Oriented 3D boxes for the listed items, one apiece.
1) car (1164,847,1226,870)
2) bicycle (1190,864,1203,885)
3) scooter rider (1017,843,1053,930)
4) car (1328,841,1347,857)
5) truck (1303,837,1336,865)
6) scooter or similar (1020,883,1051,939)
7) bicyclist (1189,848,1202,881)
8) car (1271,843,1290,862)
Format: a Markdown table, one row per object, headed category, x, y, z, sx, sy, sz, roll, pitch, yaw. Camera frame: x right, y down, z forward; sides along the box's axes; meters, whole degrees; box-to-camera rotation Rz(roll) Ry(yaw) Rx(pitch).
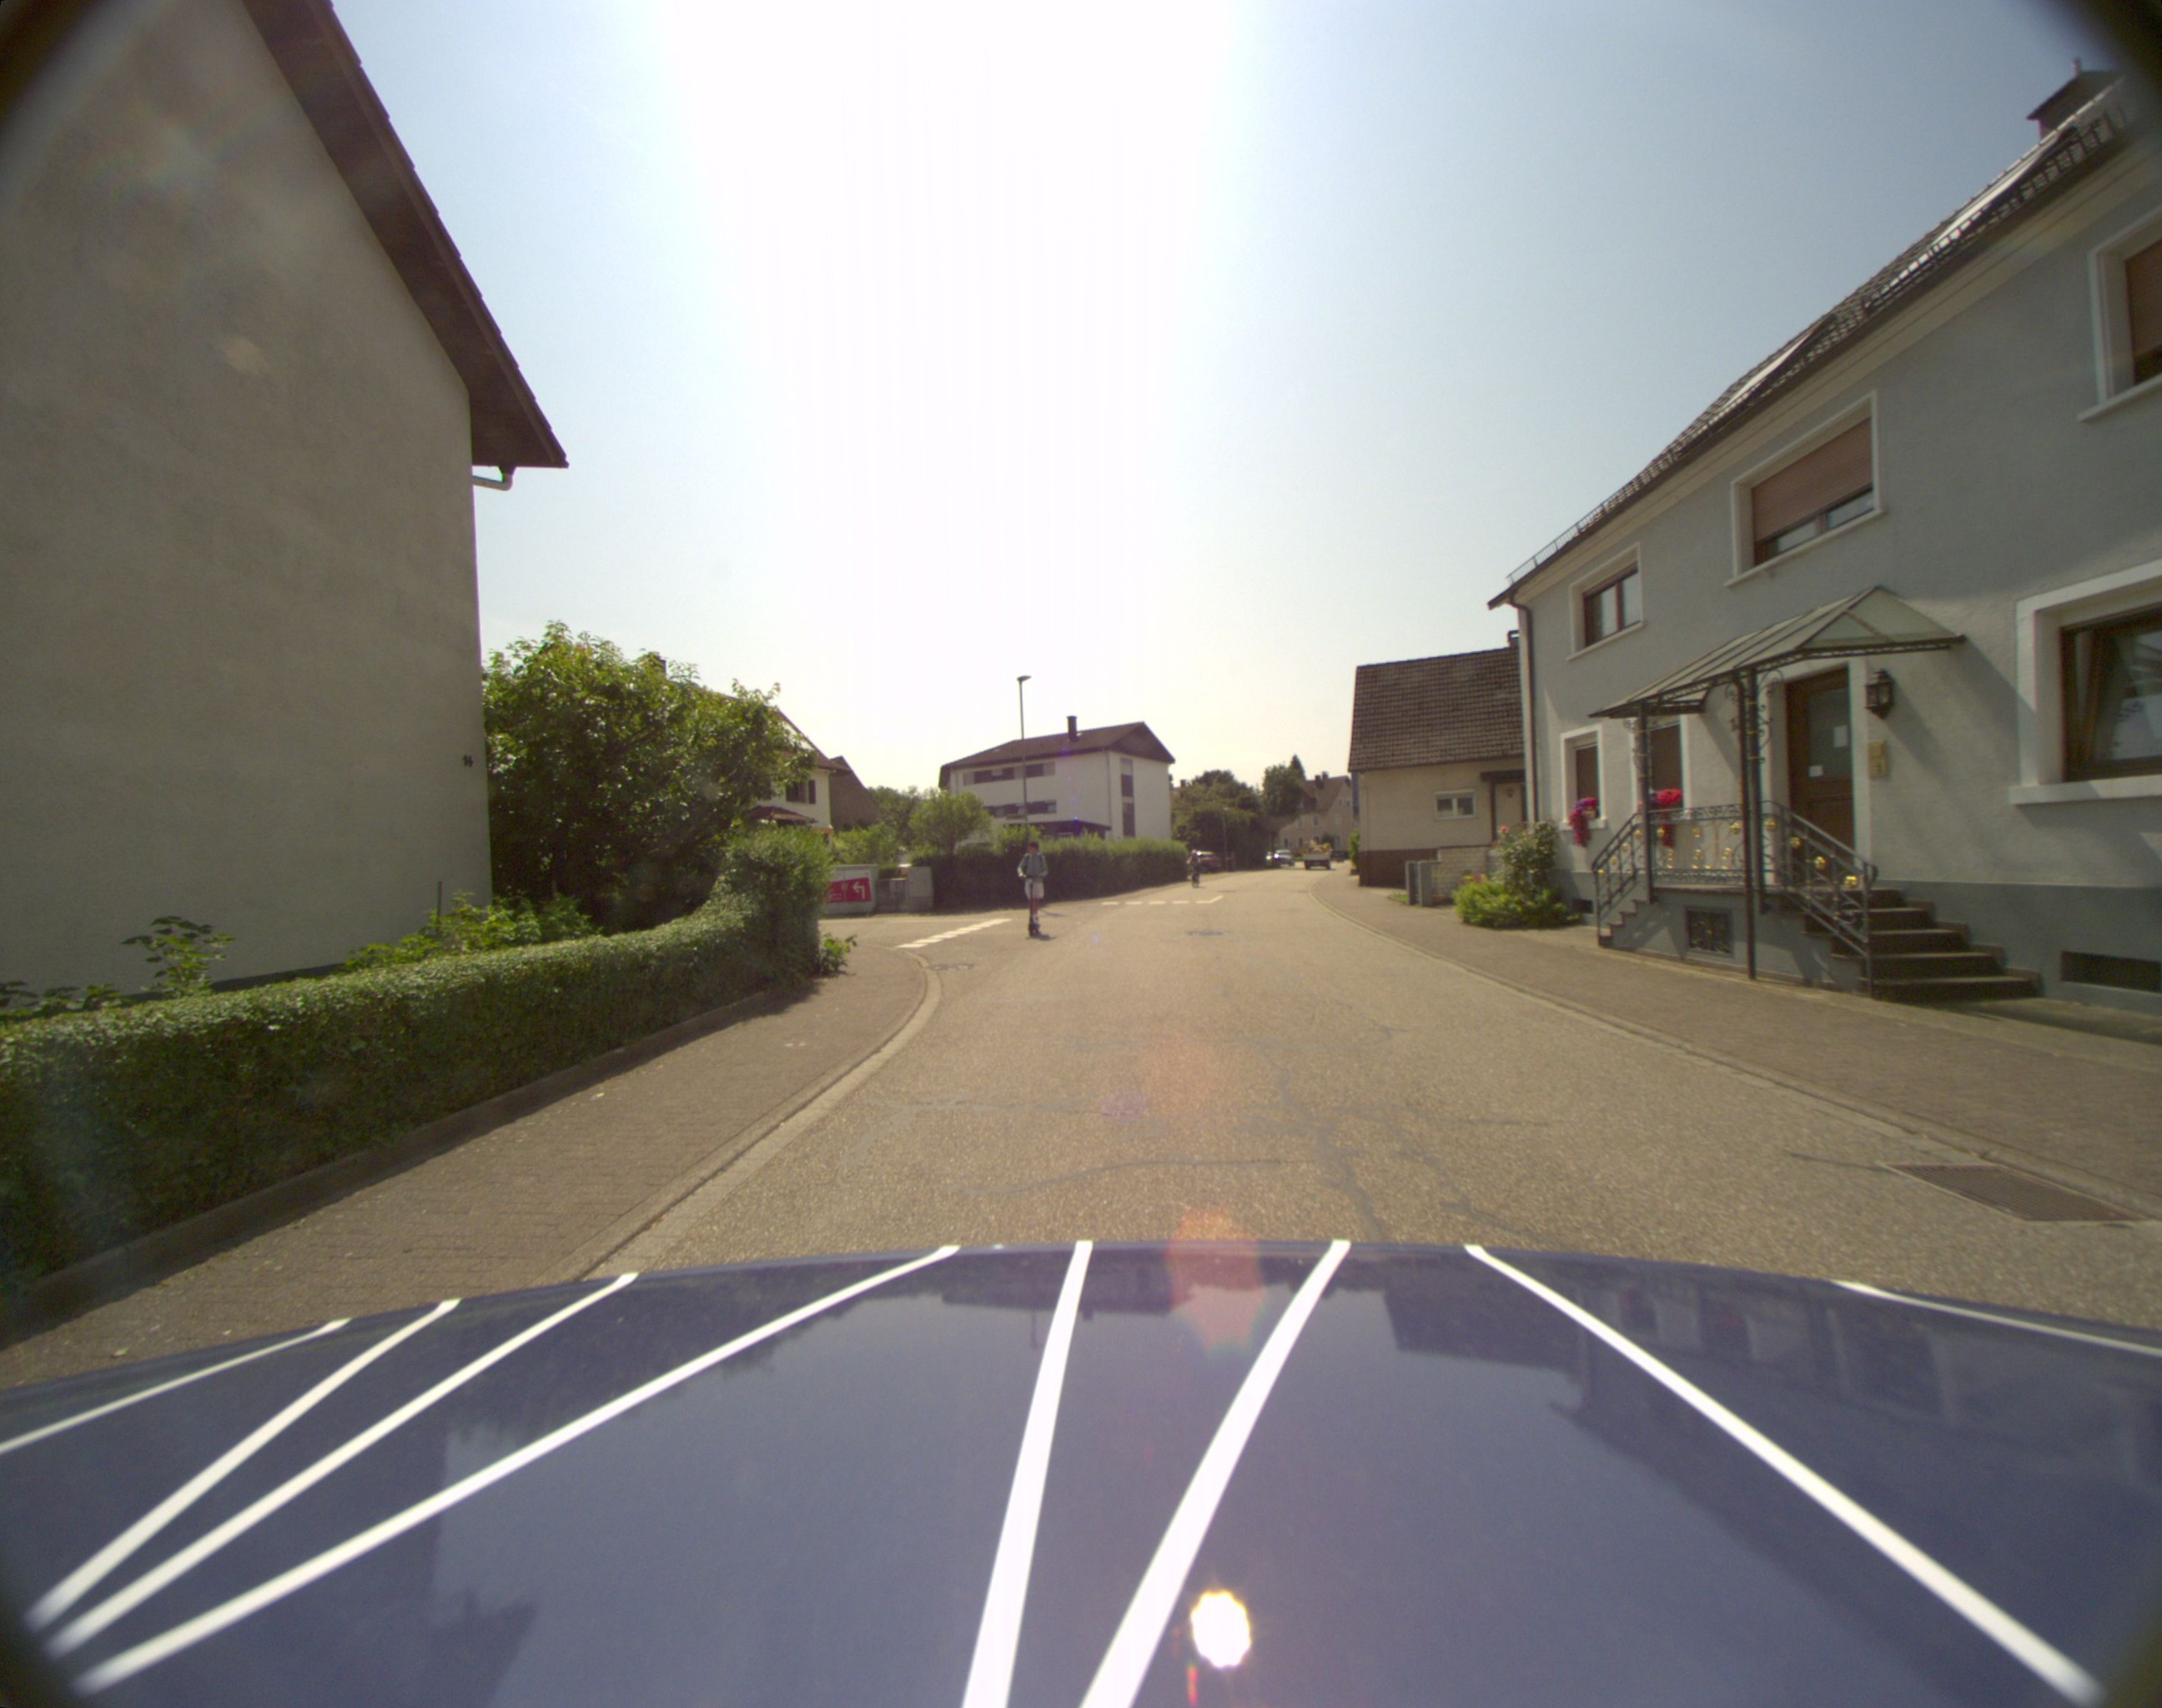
| category | x | y | z | sx | sy | sz | roll | pitch | yaw |
| --- | --- | --- | --- | --- | --- | --- | --- | --- | --- |
| car | 8.704 | 0.316 | 58.146 | 4.282 | 1.662 | 2.069 | -1 | 1 | 25 |
| bicycle | 5.247 | 0.911 | 34.681 | 0.521 | 0.898 | 1.314 | -2 | 0 | 7 |
| scooter rider | -0.955 | 0.652 | 15.577 | 0.617 | 1.714 | 0.639 | -2 | 1 | -9 |
| car | 31.808 | -0.625 | 94.093 | 1.995 | 1.929 | 4.006 | -1 | 0 | 22 |
| truck | 19.703 | -0.243 | 62.456 | 2.264 | 2.122 | 6.774 | -1 | 0 | 20 |
| scooter or similar | -0.939 | 1.154 | 15.595 | 0.543 | 1.083 | 0.690 | -2 | 1 | -9 |
| bicyclist | 5.255 | 0.465 | 34.892 | 0.547 | 1.481 | 0.797 | -2 | 1 | 7 |
| car | 20.327 | -0.193 | 77.234 | 1.779 | 1.830 | 3.905 | -1 | 0 | 16 |
